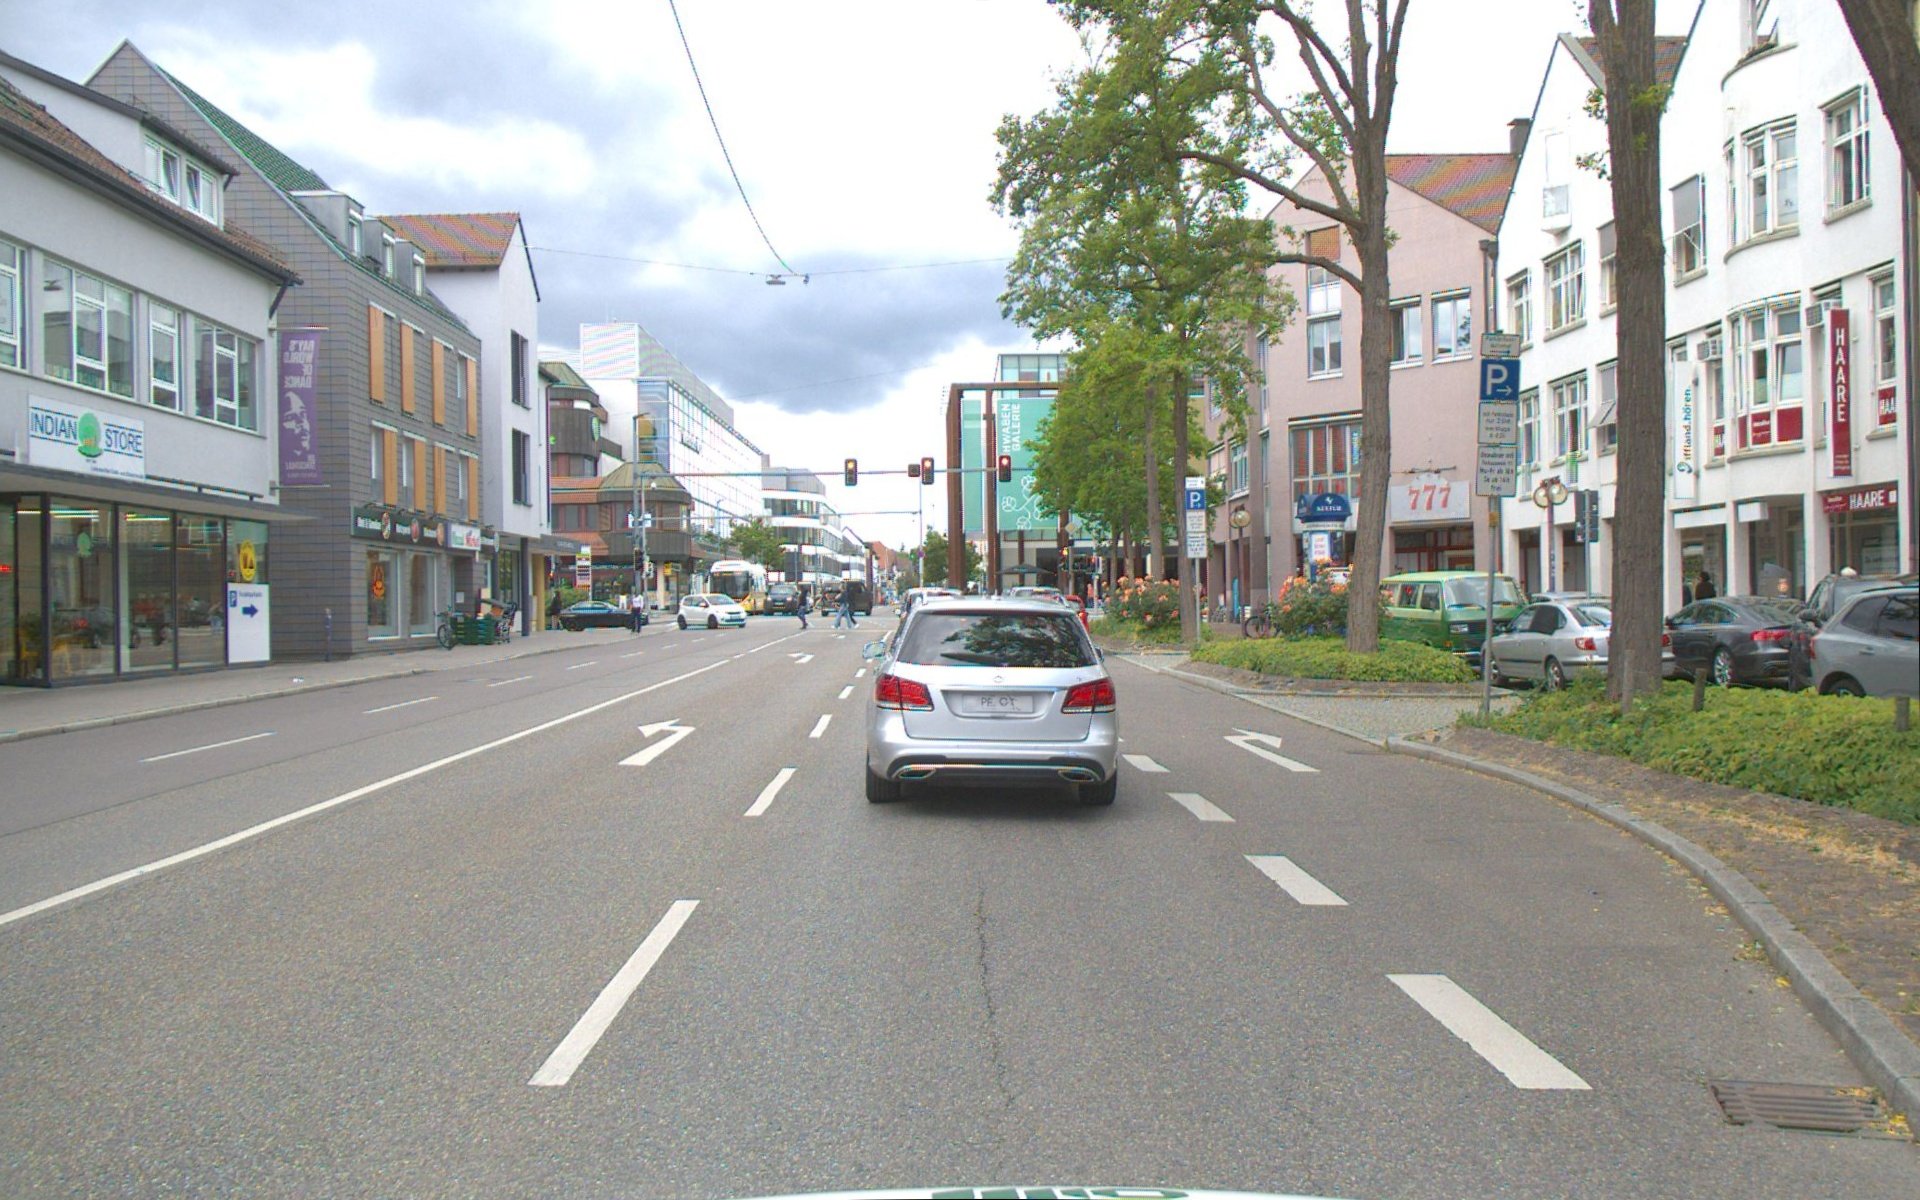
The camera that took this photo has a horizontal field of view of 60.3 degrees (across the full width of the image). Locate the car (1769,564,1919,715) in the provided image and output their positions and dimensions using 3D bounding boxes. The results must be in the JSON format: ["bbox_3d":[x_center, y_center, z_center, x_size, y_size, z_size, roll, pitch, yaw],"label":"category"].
[{"bbox_3d":[11.743,0.410,21.103,1.814,1.699,4.666,-2,0,17],"label":"car"}]

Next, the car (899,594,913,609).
[{"bbox_3d":[-6.460,0.151,197.215,1.681,1.735,4.063,0,0,-2],"label":"car"}]

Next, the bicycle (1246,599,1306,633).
[{"bbox_3d":[9.590,0.495,50.277,1.731,1.014,0.447,-1,0,3],"label":"bicycle"}]

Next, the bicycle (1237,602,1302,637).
[{"bbox_3d":[9.310,0.577,49.745,1.861,1.014,0.468,-1,0,3],"label":"bicycle"}]

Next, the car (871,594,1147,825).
[{"bbox_3d":[0.231,0.713,12.972,1.779,1.474,4.367,1,0,-3],"label":"car"}]

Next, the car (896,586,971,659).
[{"bbox_3d":[-0.603,0.468,37.052,1.606,1.554,3.393,1,0,-1],"label":"car"}]

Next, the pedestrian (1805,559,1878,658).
[{"bbox_3d":[15.509,0.140,29.130,0.773,1.688,0.819,-3,0,-1],"label":"pedestrian"}]

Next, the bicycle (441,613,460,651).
[{"bbox_3d":[-13.609,0.855,44.178,0.320,0.970,1.479,-1,0,-12],"label":"bicycle"}]

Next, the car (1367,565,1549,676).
[{"bbox_3d":[9.416,0.349,31.653,1.843,1.909,4.603,-2,0,-3],"label":"car"}]

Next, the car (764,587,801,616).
[{"bbox_3d":[-10.948,0.049,102.059,1.953,1.735,4.063,0,0,-2],"label":"car"}]

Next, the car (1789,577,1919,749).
[{"bbox_3d":[10.033,0.580,15.424,1.954,1.623,4.760,-1,0,-4],"label":"car"}]

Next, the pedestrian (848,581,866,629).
[{"bbox_3d":[-3.939,0.185,63.378,0.633,1.806,0.569,-1,0,-9],"label":"pedestrian"}]

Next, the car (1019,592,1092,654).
[{"bbox_3d":[2.360,0.544,41.414,1.554,1.468,3.347,1,0,-1],"label":"car"}]

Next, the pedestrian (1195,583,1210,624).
[{"bbox_3d":[10.869,0.164,74.096,0.557,1.806,0.647,-1,0,2],"label":"pedestrian"}]

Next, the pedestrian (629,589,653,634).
[{"bbox_3d":[-11.609,0.412,60.175,0.713,1.638,0.753,-1,0,-1],"label":"pedestrian"}]

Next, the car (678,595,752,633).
[{"bbox_3d":[-10.449,0.607,70.376,1.564,1.514,3.414,-2,0,-40],"label":"car"}]

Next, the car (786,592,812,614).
[{"bbox_3d":[-10.638,0.165,109.490,1.524,1.417,3.286,0,0,-2],"label":"car"}]

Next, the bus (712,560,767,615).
[{"bbox_3d":[-13.874,-0.801,104.669,2.633,3.318,8.649,0,0,-2],"label":"bus"}]

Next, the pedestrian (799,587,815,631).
[{"bbox_3d":[-5.897,0.334,63.616,0.547,1.679,0.652,-1,0,-10],"label":"pedestrian"}]

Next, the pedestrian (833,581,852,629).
[{"bbox_3d":[-4.469,0.179,62.774,0.635,1.821,0.682,-1,0,-9],"label":"pedestrian"}]

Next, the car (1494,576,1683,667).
[{"bbox_3d":[12.013,0.380,31.949,1.760,1.569,4.392,-2,0,-3],"label":"car"}]

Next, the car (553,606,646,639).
[{"bbox_3d":[-17.350,1.068,79.732,4.102,1.557,1.790,0,0,-1],"label":"car"}]

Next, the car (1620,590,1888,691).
[{"bbox_3d":[12.499,0.578,26.407,1.957,1.400,4.416,-2,0,-3],"label":"car"}]

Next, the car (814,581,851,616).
[{"bbox_3d":[-7.470,-0.126,97.107,1.953,1.983,4.949,0,0,-2],"label":"car"}]

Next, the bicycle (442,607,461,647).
[{"bbox_3d":[-14.872,0.784,48.380,0.379,1.147,1.286,-1,0,-11],"label":"bicycle"}]

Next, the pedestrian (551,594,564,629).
[{"bbox_3d":[-17.128,0.491,70.406,0.440,1.453,0.441,-1,0,0],"label":"pedestrian"}]

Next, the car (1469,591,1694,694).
[{"bbox_3d":[9.767,0.607,26.393,1.727,1.476,4.416,-1,0,-3],"label":"car"}]

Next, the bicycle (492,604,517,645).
[{"bbox_3d":[-14.074,0.743,51.126,0.379,1.207,1.824,-1,0,-4],"label":"bicycle"}]

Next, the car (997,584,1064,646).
[{"bbox_3d":[1.993,0.406,47.765,1.555,1.662,3.914,1,0,-3],"label":"car"}]
